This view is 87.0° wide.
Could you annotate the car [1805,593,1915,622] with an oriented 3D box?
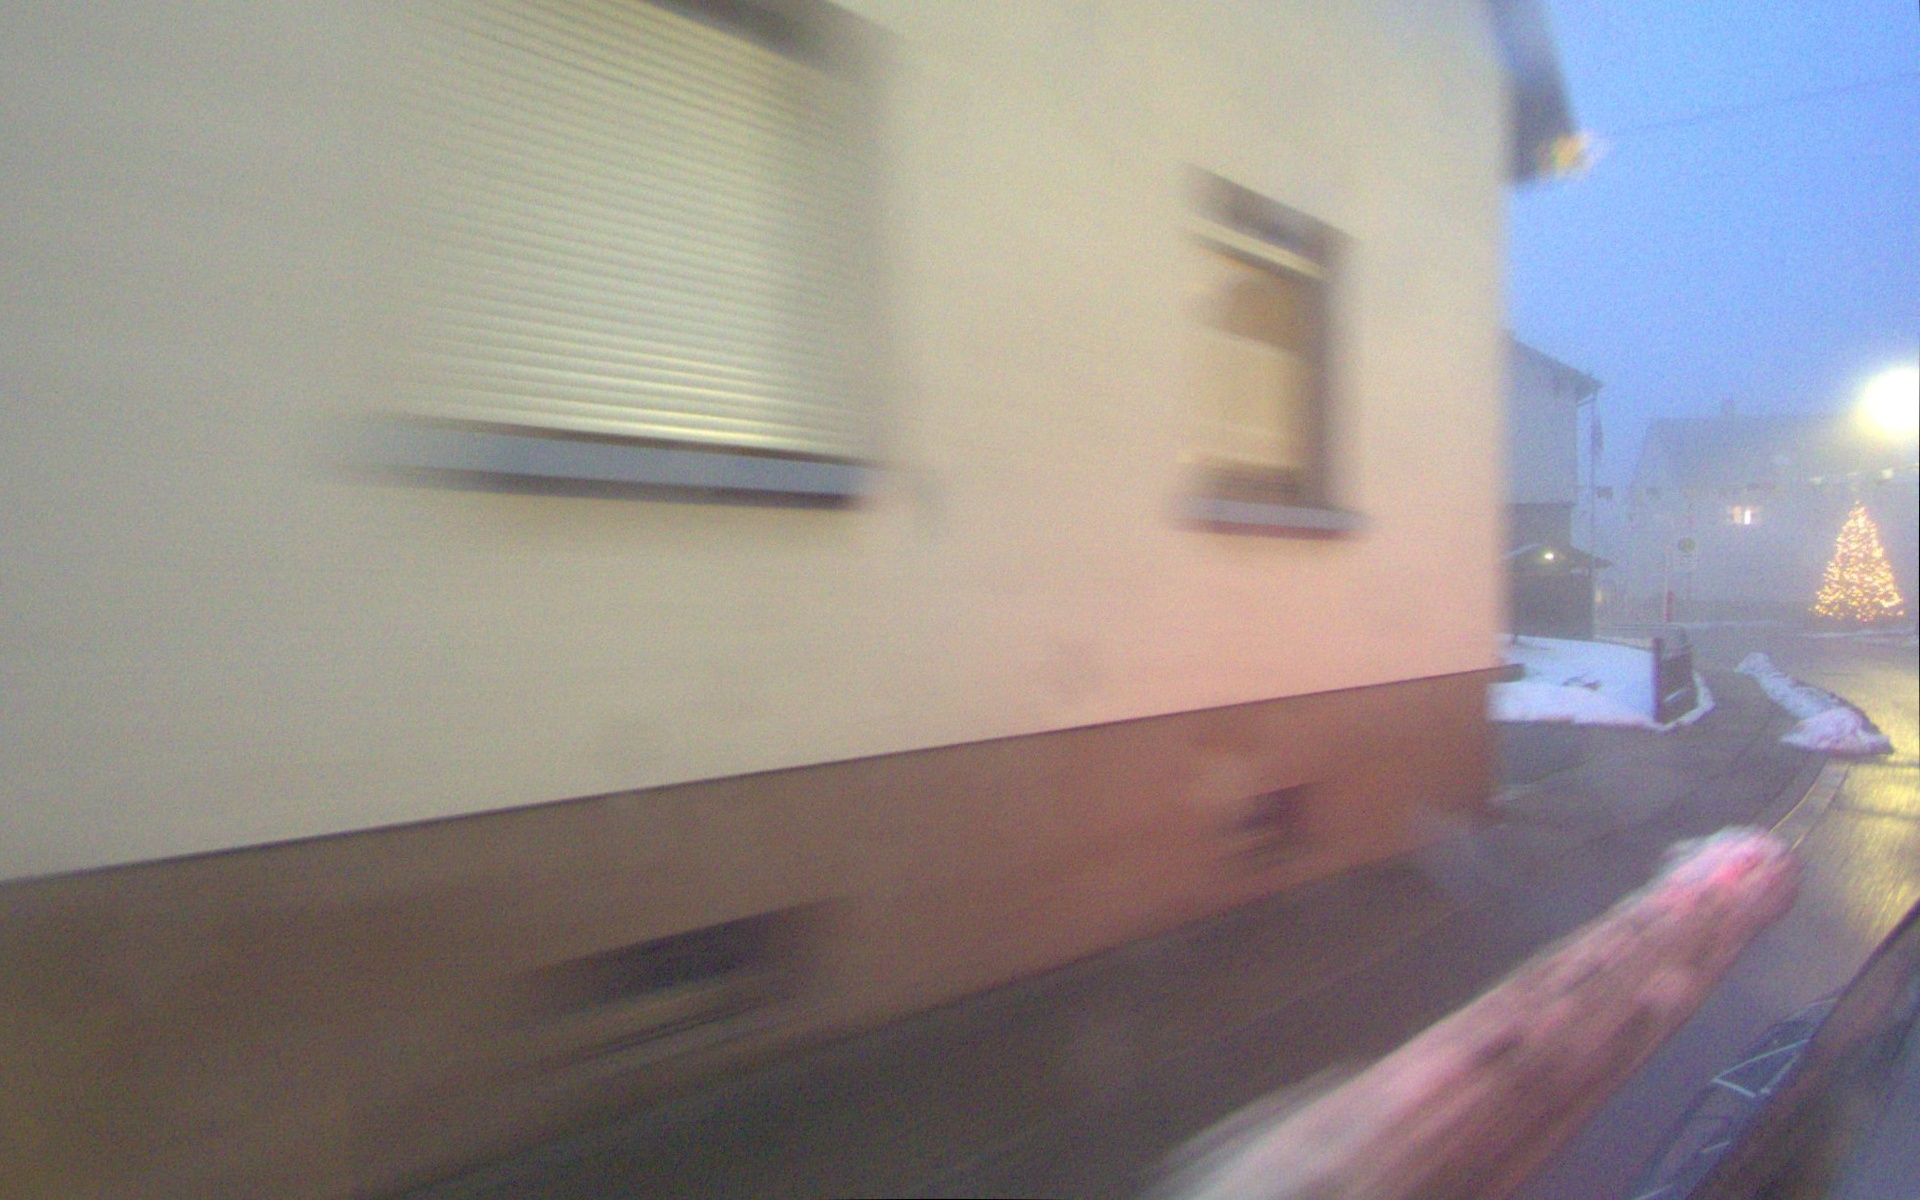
[{"bbox_3d":[45.020,0.379,50.709,3.735,1.390,1.618,-1,0,17],"label":"car"}]
